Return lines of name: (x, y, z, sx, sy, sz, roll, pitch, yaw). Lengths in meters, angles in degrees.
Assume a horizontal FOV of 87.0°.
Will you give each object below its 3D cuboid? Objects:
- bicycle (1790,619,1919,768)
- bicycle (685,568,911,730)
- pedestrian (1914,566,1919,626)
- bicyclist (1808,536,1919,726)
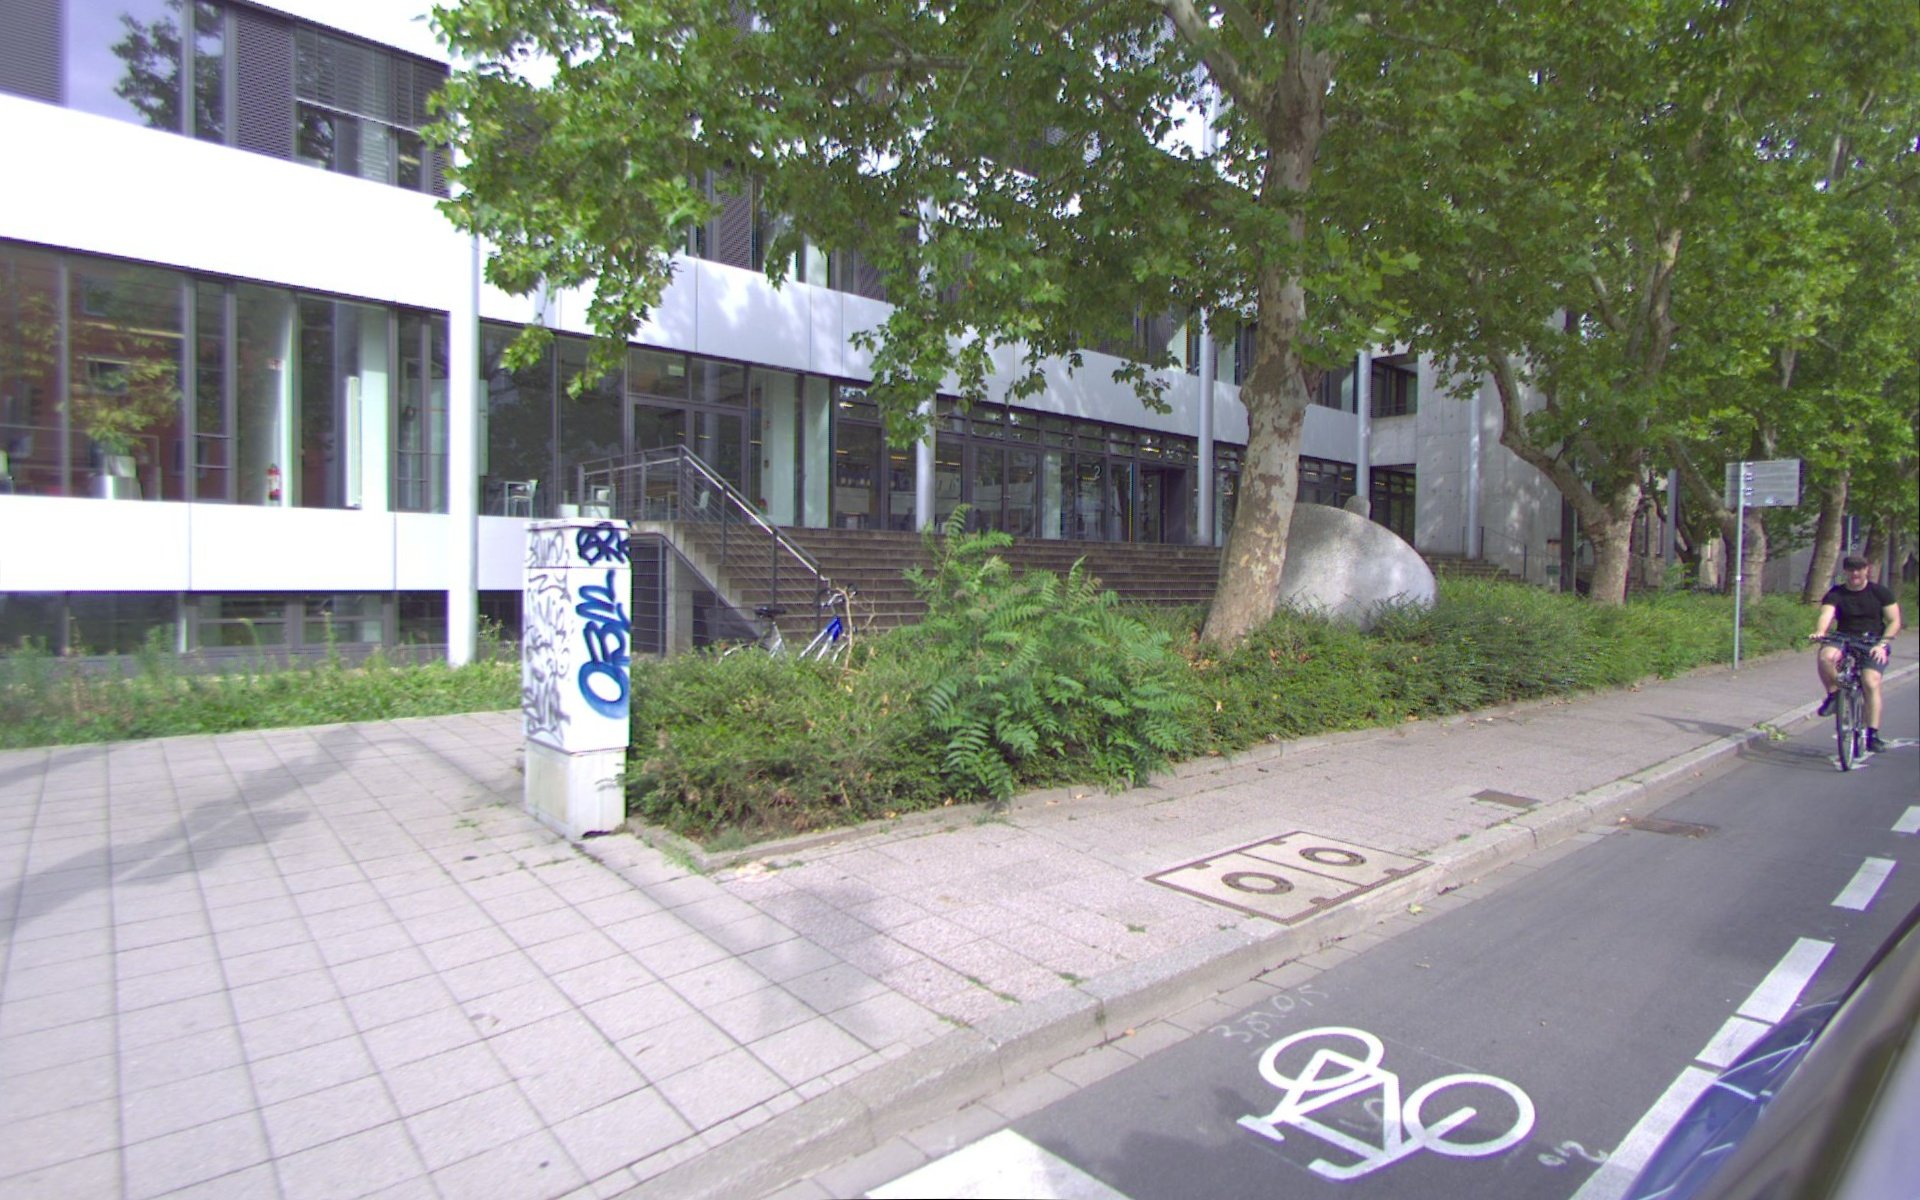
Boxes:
bicycle: (8.170, 0.765, 8.996, 1.967, 1.145, 0.773, 0, -1, -37)
bicycle: (-1.278, 0.349, 8.205, 1.695, 1.183, 0.699, -1, 0, -41)
pedestrian: (32.776, -0.139, 33.930, 0.979, 2.039, 1.003, 0, 0, -39)
bicyclist: (8.209, 0.264, 9.049, 0.787, 1.603, 0.773, 0, -1, -38)
